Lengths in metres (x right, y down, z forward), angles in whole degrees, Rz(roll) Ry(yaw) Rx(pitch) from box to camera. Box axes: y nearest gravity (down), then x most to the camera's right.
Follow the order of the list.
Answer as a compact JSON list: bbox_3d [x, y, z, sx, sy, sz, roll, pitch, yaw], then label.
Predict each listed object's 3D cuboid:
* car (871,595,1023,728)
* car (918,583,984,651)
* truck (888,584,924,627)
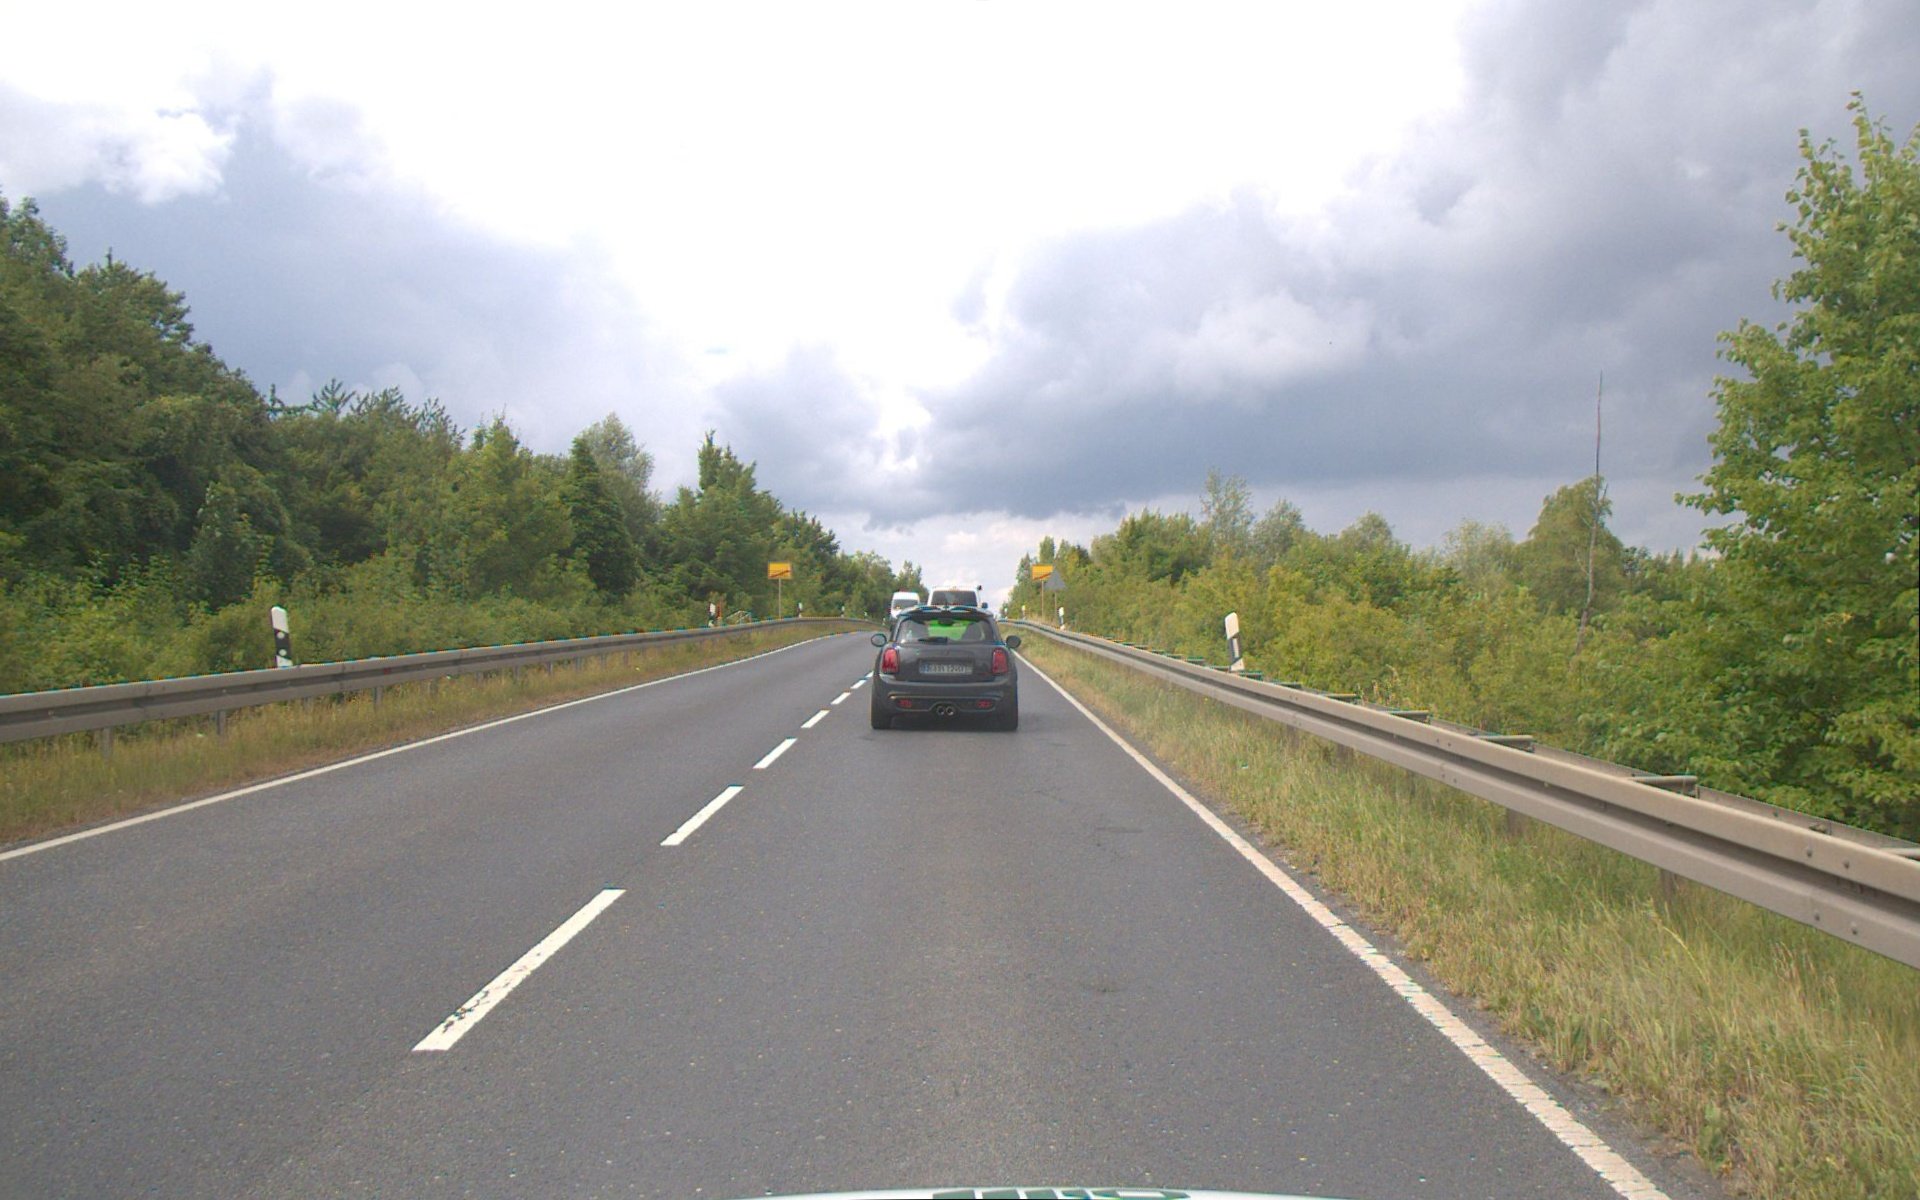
[{"bbox_3d":[-0.210,0.693,20.593,1.697,1.481,3.998,0,0,-2],"label":"car"},{"bbox_3d":[-0.262,0.529,51.894,1.981,2.048,4.000,0,0,0],"label":"car"},{"bbox_3d":[-3.606,0.360,111.713,2.022,2.790,7.007,-2,0,1],"label":"truck"}]
